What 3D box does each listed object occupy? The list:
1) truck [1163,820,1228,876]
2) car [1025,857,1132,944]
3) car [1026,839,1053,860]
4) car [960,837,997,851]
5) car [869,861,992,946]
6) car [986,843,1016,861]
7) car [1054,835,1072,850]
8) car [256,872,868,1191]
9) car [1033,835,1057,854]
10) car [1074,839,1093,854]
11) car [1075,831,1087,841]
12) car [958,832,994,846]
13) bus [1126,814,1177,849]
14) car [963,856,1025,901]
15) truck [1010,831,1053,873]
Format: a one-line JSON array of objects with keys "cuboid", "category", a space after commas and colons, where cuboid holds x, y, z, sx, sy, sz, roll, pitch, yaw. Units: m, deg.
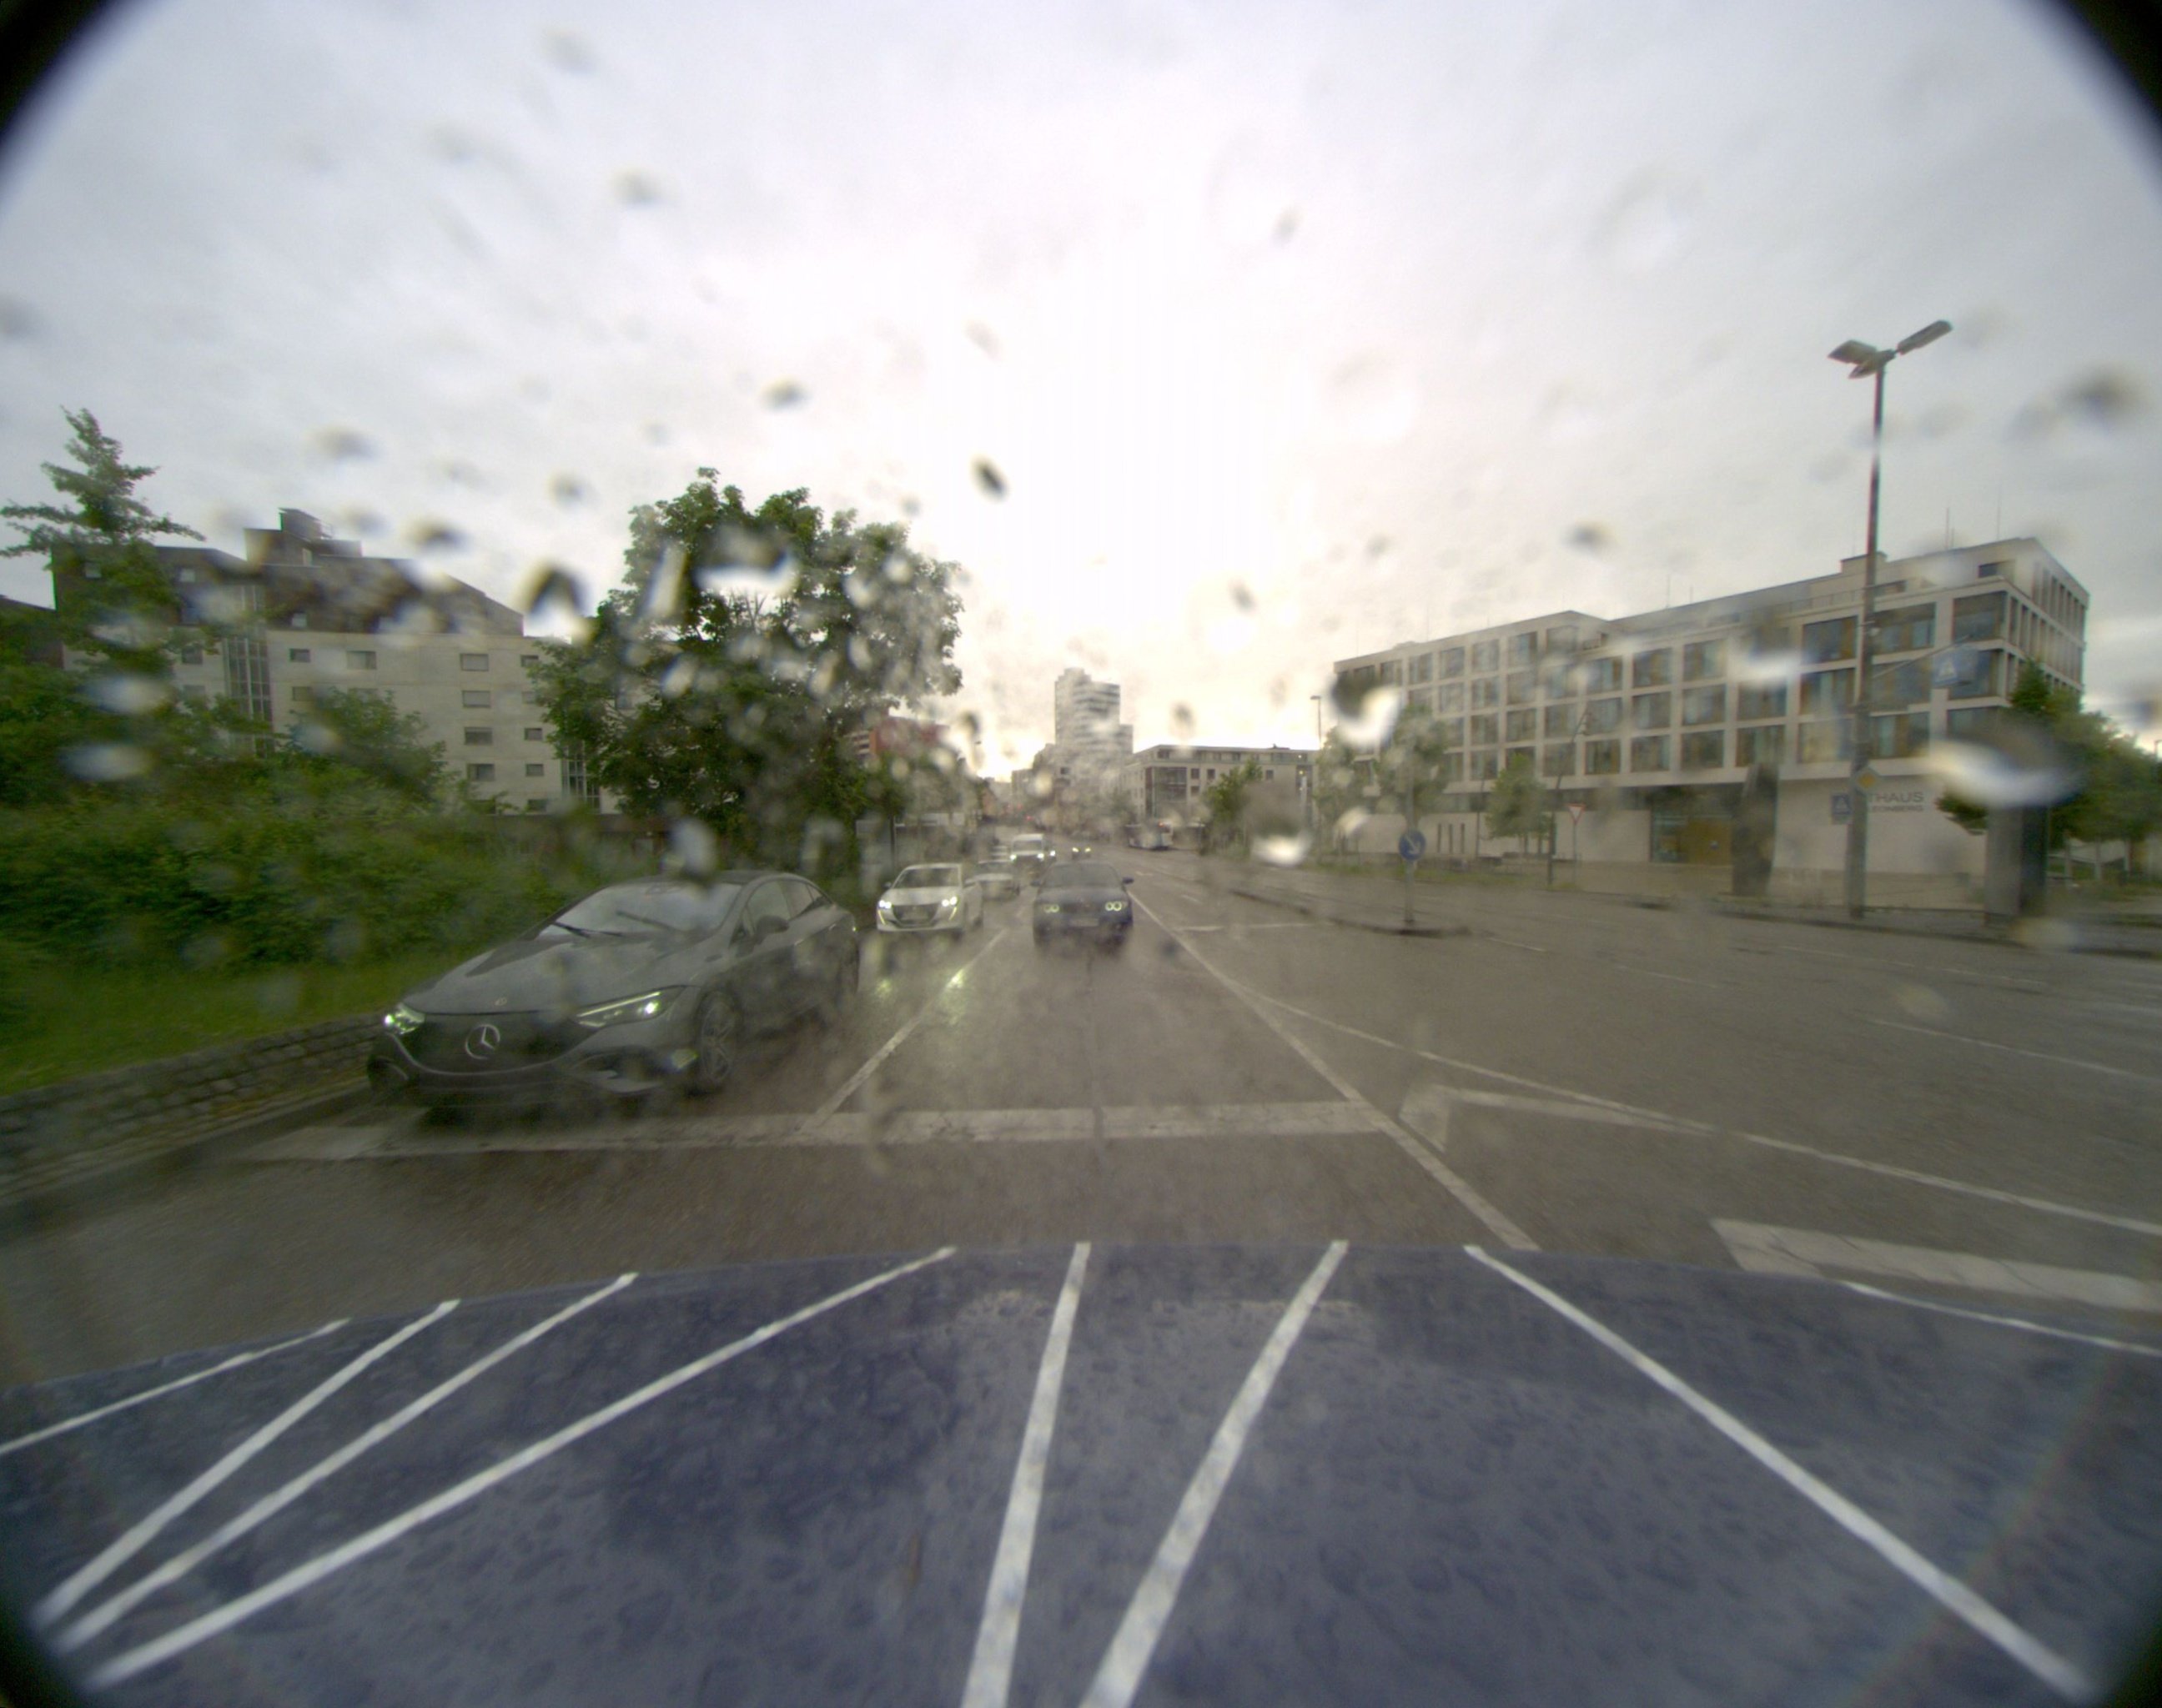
[{"cuboid": [5.359, -0.324, 36.458, 2.169, 2.425, 6.198, -2, 1, 1], "category": "truck"}, {"cuboid": [-0.017, 0.810, 14.827, 1.787, 1.335, 3.704, -2, 1, 1], "category": "car"}, {"cuboid": [-3.178, -0.364, 59.437, 1.999, 1.543, 3.999, -2, 0, -2], "category": "car"}, {"cuboid": [-11.452, -1.147, 85.073, 4.000, 1.412, 1.998, -3, 2, -9], "category": "car"}, {"cuboid": [-3.070, 0.944, 16.284, 1.718, 1.389, 4.035, -3, 1, 1], "category": "car"}, {"cuboid": [-6.606, -0.177, 63.105, 1.998, 1.344, 3.803, 1, 1, 1], "category": "car"}, {"cuboid": [-2.080, -1.252, 86.221, 1.999, 1.543, 3.999, -2, 0, -2], "category": "car"}, {"cuboid": [-3.390, 1.002, 6.309, 1.836, 1.436, 4.550, -3, 1, 1], "category": "car"}, {"cuboid": [-3.147, -0.822, 66.941, 1.999, 1.543, 3.999, -2, 0, -2], "category": "car"}, {"cuboid": [0.286, -0.753, 72.821, 1.718, 1.369, 3.734, -3, 1, 1], "category": "car"}, {"cuboid": [-0.024, -2.926, 124.798, 1.818, 1.421, 3.941, -3, 3, 2], "category": "car"}, {"cuboid": [-12.116, -1.698, 87.402, 4.000, 1.412, 1.701, -3, 2, -9], "category": "car"}, {"cuboid": [8.505, -2.786, 95.168, 2.952, 3.972, 18.215, 0, 1, -5], "category": "bus"}, {"cuboid": [-3.120, 0.852, 27.831, 1.718, 1.369, 3.734, -3, 1, 1], "category": "car"}, {"cuboid": [-3.005, -0.192, 47.561, 2.169, 2.425, 6.198, -2, 1, 1], "category": "truck"}]
